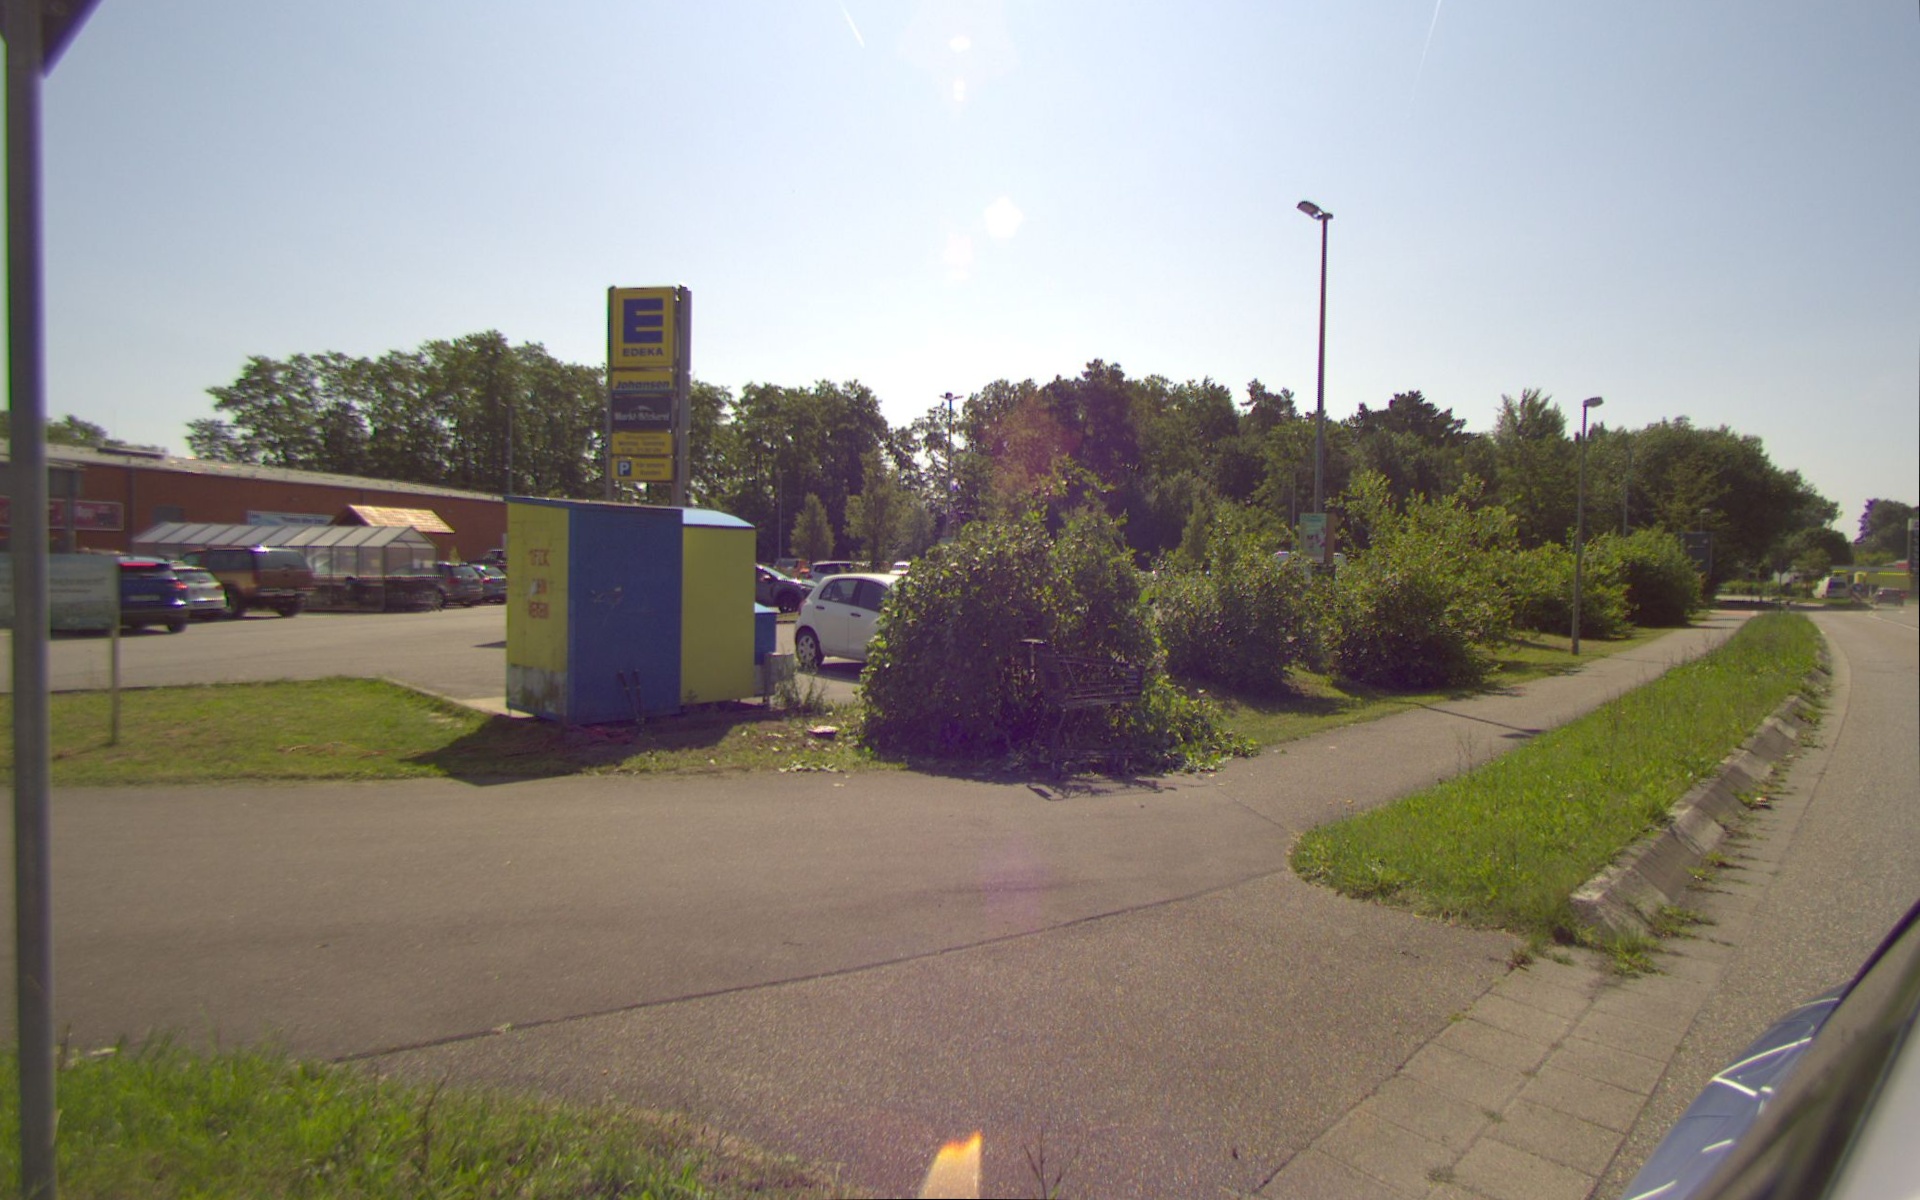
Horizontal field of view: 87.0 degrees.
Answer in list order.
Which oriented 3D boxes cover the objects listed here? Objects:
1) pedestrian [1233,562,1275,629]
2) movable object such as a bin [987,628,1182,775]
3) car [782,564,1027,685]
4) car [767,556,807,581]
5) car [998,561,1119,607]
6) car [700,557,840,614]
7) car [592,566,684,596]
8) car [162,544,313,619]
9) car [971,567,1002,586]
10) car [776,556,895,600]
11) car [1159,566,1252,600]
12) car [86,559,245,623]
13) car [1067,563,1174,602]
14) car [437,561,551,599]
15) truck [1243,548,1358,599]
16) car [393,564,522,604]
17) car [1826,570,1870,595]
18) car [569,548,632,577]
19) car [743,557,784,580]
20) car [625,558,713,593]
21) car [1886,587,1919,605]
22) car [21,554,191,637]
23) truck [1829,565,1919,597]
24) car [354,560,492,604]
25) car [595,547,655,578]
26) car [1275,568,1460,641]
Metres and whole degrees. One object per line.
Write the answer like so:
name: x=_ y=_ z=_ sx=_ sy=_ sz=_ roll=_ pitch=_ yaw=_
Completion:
pedestrian: x=8.231 y=-0.130 z=28.348 sx=0.818 sy=1.819 sz=0.853 roll=2 pitch=2 yaw=42
movable object such as a bin: x=1.073 y=0.834 z=8.826 sx=1.425 sy=1.134 sz=0.872 roll=0 pitch=1 yaw=-22
car: x=-0.934 y=0.292 z=15.888 sx=3.591 sy=1.581 sz=1.787 roll=4 pitch=3 yaw=41
car: x=-14.855 y=-2.724 z=87.168 sx=1.915 sy=1.998 sz=3.984 roll=2 pitch=2 yaw=14
car: x=3.668 y=-0.621 z=37.984 sx=4.144 sy=1.593 sz=1.973 roll=2 pitch=2 yaw=38
car: x=-5.802 y=-0.469 z=31.083 sx=3.930 sy=1.608 sz=1.659 roll=1 pitch=1 yaw=6
car: x=-15.905 y=-0.954 z=49.989 sx=3.949 sy=1.371 sz=1.988 roll=2 pitch=2 yaw=19
car: x=-20.196 y=-0.541 z=28.316 sx=3.450 sy=1.953 sz=1.866 roll=1 pitch=1 yaw=21
car: x=2.227 y=-1.950 z=82.726 sx=1.638 sy=1.504 sz=4.356 roll=2 pitch=2 yaw=14
car: x=-5.155 y=-0.887 z=42.042 sx=4.492 sy=1.723 sz=1.992 roll=-1 pitch=1 yaw=14
car: x=11.748 y=-0.838 z=48.379 sx=3.942 sy=1.471 sz=1.884 roll=2 pitch=2 yaw=31
car: x=-20.390 y=-0.245 z=25.977 sx=3.450 sy=1.516 sz=1.704 roll=1 pitch=1 yaw=21
car: x=6.541 y=-0.723 z=41.370 sx=3.972 sy=1.445 sz=1.728 roll=3 pitch=2 yaw=34
car: x=-18.503 y=-0.816 z=40.241 sx=3.940 sy=1.415 sz=1.709 roll=1 pitch=1 yaw=13
truck: x=18.840 y=-1.489 z=56.143 sx=5.592 sy=2.637 sz=2.172 roll=3 pitch=3 yaw=40
car: x=-18.748 y=-0.615 z=37.824 sx=3.938 sy=1.393 sz=1.993 roll=1 pitch=1 yaw=12
car: x=90.056 y=-1.759 z=102.692 sx=1.897 sy=2.430 sz=4.871 roll=2 pitch=2 yaw=24
car: x=-26.484 y=-2.792 z=74.580 sx=3.946 sy=2.039 sz=1.989 roll=1 pitch=1 yaw=17
car: x=-17.014 y=-2.718 z=87.773 sx=1.915 sy=1.888 sz=3.984 roll=2 pitch=2 yaw=14
car: x=-15.054 y=-1.262 z=52.375 sx=3.949 sy=1.682 sz=1.988 roll=2 pitch=1 yaw=20
car: x=77.582 y=-0.370 z=83.332 sx=1.696 sy=1.406 sz=4.234 roll=2 pitch=2 yaw=39
car: x=-18.317 y=-0.149 z=21.649 sx=4.399 sy=1.591 sz=1.695 roll=2 pitch=1 yaw=35
truck: x=106.036 y=-2.182 z=115.377 sx=10.288 sy=3.435 sz=3.832 roll=3 pitch=3 yaw=38
car: x=-18.626 y=-0.628 z=35.143 sx=3.941 sy=1.438 sz=1.974 roll=1 pitch=1 yaw=14
car: x=-25.997 y=-2.888 z=78.569 sx=3.969 sy=2.275 sz=1.989 roll=1 pitch=1 yaw=17
car: x=10.542 y=0.049 z=26.349 sx=4.117 sy=1.647 sz=1.726 roll=3 pitch=2 yaw=41
